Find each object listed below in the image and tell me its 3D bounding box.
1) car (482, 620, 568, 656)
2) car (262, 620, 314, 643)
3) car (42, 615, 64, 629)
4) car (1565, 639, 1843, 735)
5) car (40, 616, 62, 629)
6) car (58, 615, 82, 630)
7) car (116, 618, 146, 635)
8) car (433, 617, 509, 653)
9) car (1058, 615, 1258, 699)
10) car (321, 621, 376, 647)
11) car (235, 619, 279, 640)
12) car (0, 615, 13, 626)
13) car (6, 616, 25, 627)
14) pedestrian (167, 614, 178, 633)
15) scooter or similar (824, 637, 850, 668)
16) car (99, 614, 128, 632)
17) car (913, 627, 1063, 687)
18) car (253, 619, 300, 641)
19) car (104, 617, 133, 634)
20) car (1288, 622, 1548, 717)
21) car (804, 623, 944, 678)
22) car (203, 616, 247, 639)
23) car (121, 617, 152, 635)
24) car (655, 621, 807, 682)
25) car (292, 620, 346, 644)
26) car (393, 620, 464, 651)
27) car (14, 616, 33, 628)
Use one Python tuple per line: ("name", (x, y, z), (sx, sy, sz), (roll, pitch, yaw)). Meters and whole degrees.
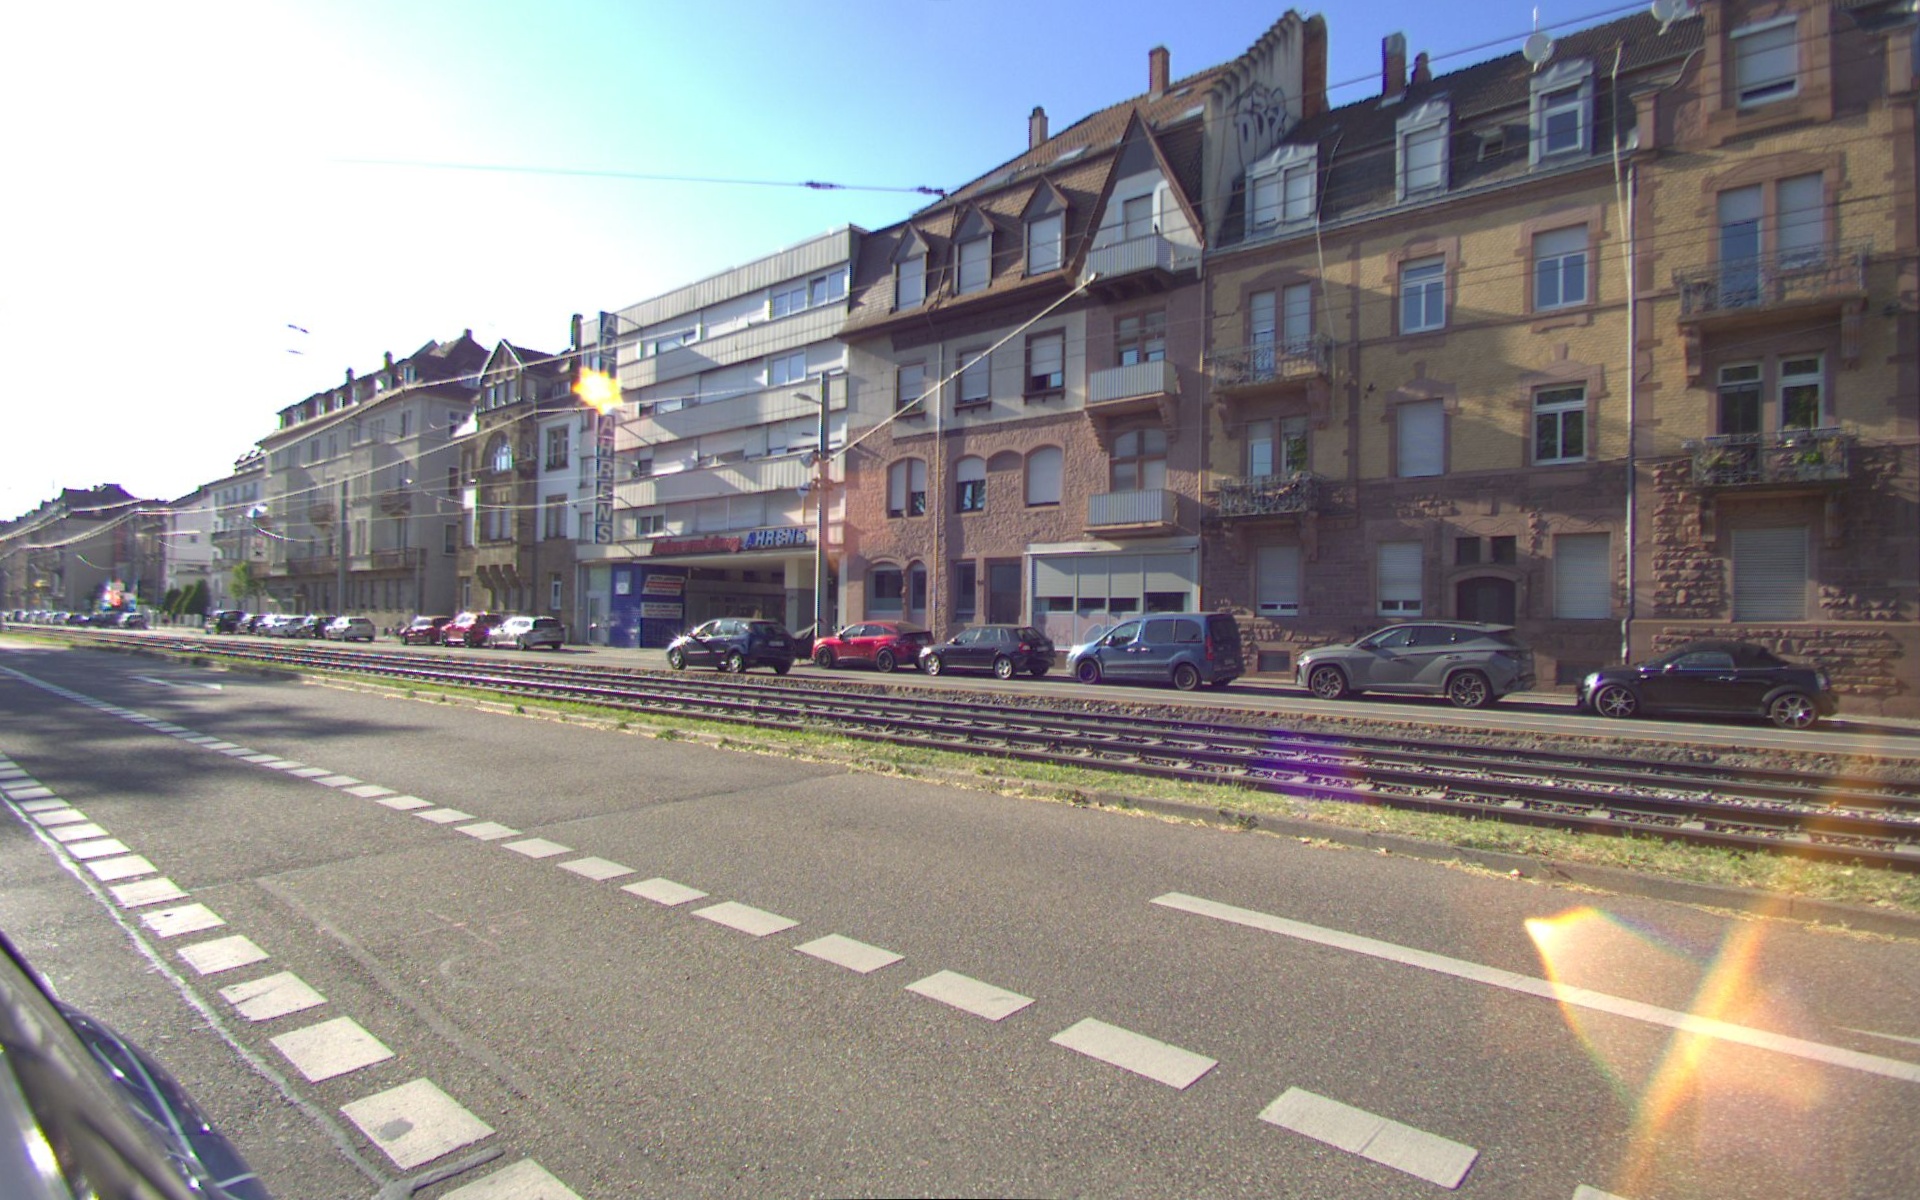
("car", (-19.788, 1.701, 45.965), (4.378, 1.510, 1.837), (-1, -1, 40))
("car", (-44.175, 2.077, 66.551), (3.530, 1.457, 1.624), (-1, -1, 34))
("car", (-111.066, 2.694, 123.958), (3.448, 1.602, 1.603), (-1, -1, 41))
("car", (12.730, 1.416, 17.477), (3.723, 1.365, 1.606), (-1, 0, 40))
("car", (-114.976, 2.849, 127.986), (3.448, 1.602, 1.603), (-1, -1, 41))
("car", (-103.951, 2.617, 118.227), (3.448, 1.602, 1.603), (-1, -1, 41))
("car", (-80.391, 2.543, 98.153), (3.386, 1.583, 1.663), (-1, -1, 41))
("car", (-23.926, 1.678, 49.476), (4.261, 1.700, 1.836), (-1, -1, 41))
("car", (4.686, 1.286, 24.372), (4.417, 1.772, 1.865), (-1, 1, 43))
("car", (-36.654, 2.029, 60.636), (3.821, 1.490, 1.779), (-1, -1, 41))
("car", (-51.594, 2.164, 74.207), (3.821, 1.490, 1.779), (-1, -1, 41))
("car", (-143.231, 3.084, 151.673), (3.448, 1.602, 1.603), (-1, -1, 41))
("car", (-137.273, 3.155, 147.082), (3.448, 1.602, 1.603), (-1, -1, 41))
("pedestrian", (-77.861, 2.318, 100.081), (0.677, 1.803, 0.716), (-1, -3, 40))
("scooter or similar", (-4.424, 1.891, 36.342), (1.121, 1.077, 0.202), (-1, -1, 41))
("car", (-88.057, 2.413, 105.216), (3.878, 1.800, 1.705), (-1, -1, 41))
("car", (0.729, 1.509, 27.811), (3.924, 1.448, 1.678), (-1, 0, 40))
("car", (-47.429, 2.069, 70.232), (3.821, 1.490, 1.779), (-1, -1, 41))
("car", (-84.477, 2.535, 101.558), (3.386, 1.583, 1.663), (-1, -1, 41))
("car", (9.219, 1.312, 20.569), (4.499, 1.635, 1.837), (-1, 0, 40))
("car", (-2.675, 1.498, 31.053), (4.207, 1.510, 1.837), (-1, 0, 40))
("car", (-56.278, 2.086, 77.474), (3.913, 1.750, 1.851), (-1, -1, 41))
("car", (-76.755, 2.424, 94.331), (3.406, 1.644, 1.656), (-1, -1, 41))
("car", (-6.195, 1.342, 27.182), (4.162, 1.468, 1.801), (-1, -3, 40))
("car", (-40.682, 1.982, 64.169), (3.819, 1.441, 1.780), (-1, -1, 39))
("car", (-27.756, 1.828, 52.831), (3.721, 1.507, 1.736), (-1, -1, 35))
("car", (-133.374, 3.123, 144.078), (3.448, 1.602, 1.603), (-1, -1, 41))
